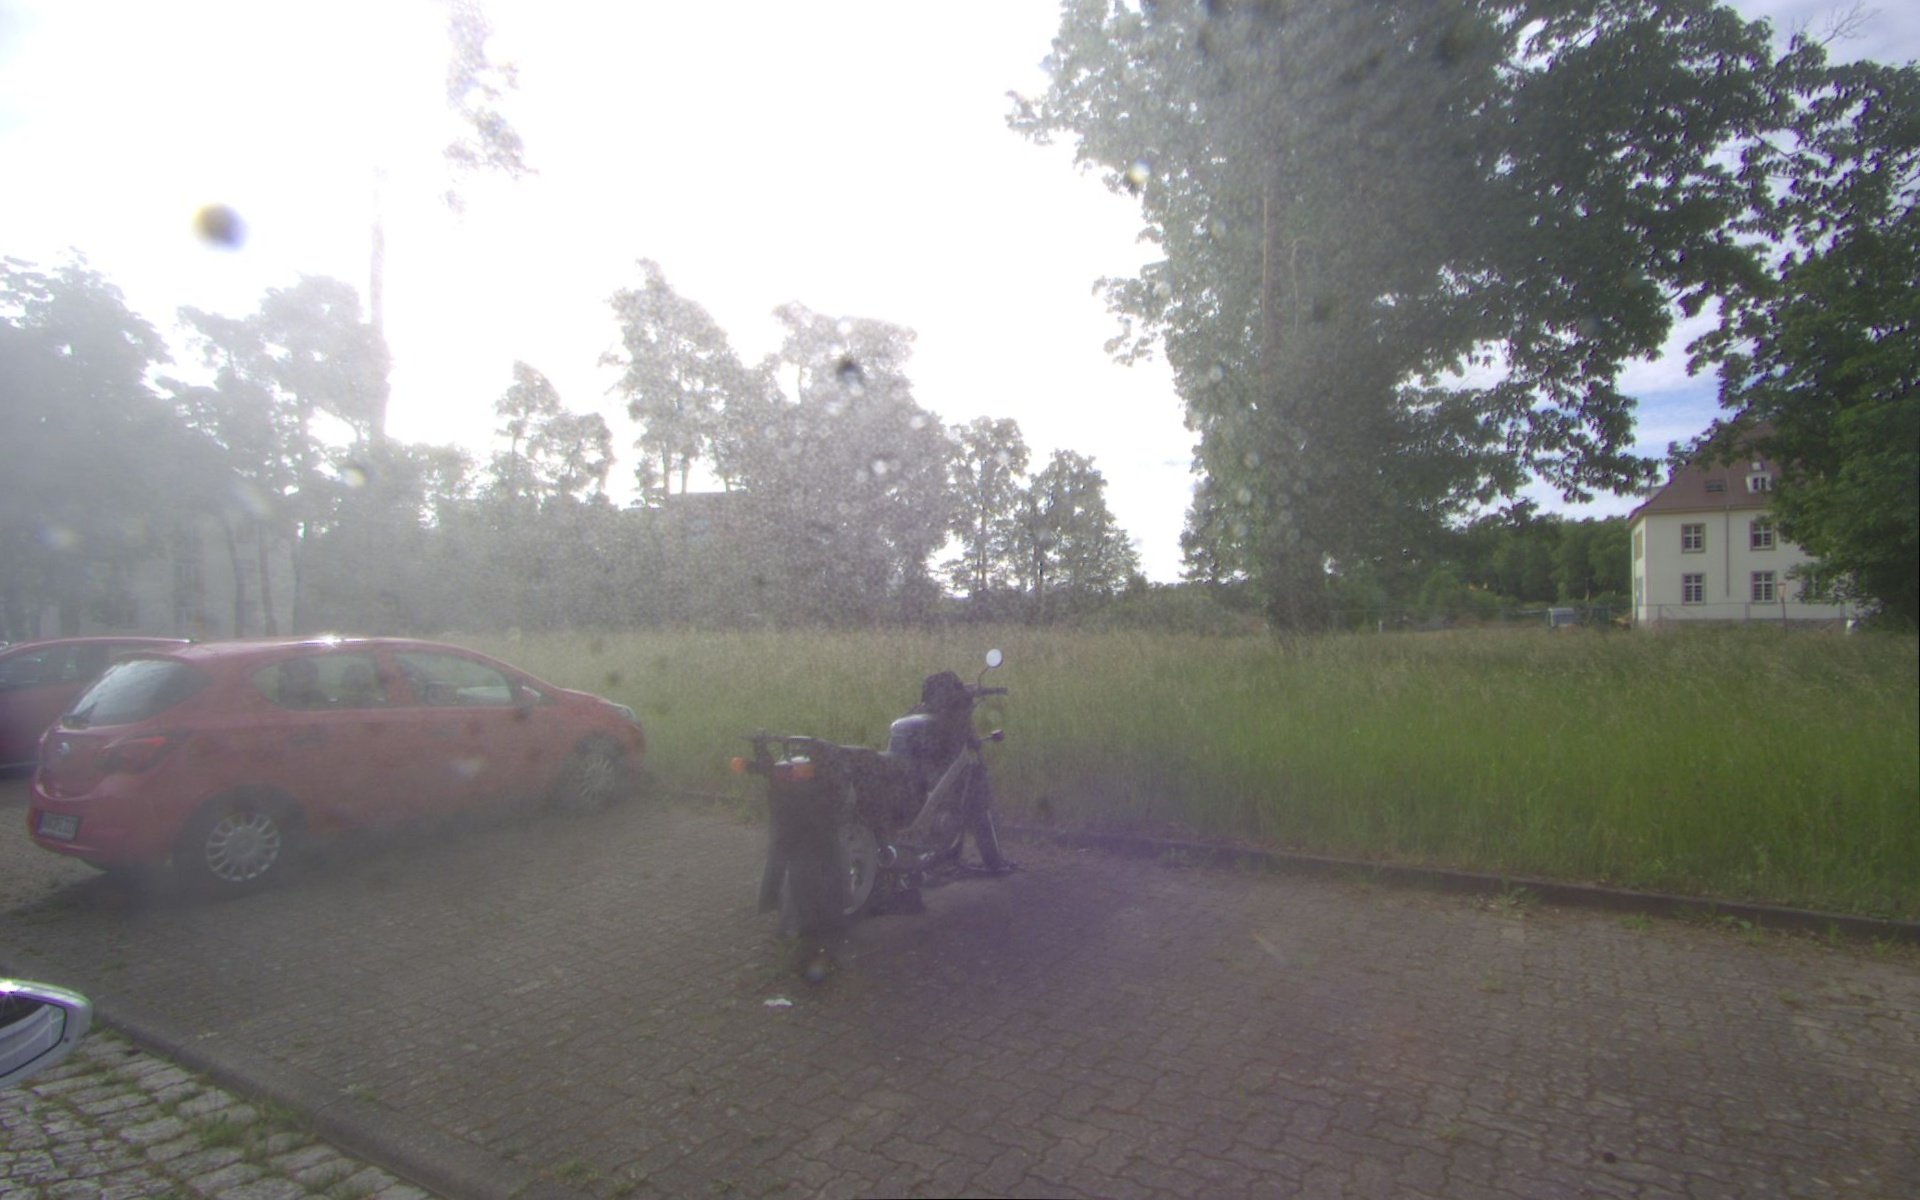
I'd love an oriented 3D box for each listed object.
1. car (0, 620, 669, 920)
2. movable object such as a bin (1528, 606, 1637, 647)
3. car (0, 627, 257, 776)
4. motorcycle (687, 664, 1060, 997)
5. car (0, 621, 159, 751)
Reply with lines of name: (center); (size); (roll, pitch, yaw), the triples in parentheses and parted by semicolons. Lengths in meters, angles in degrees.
car: (-4.217, 0.947, 7.340); (1.753, 1.479, 3.819); (-1, 0, 30)
movable object such as a bin: (42.331, 1.860, 68.192); (2.152, 2.688, 5.928); (1, -2, -40)
car: (-10.527, 1.116, 11.358); (1.726, 1.479, 3.785); (-1, 0, 31)
motorcycle: (-0.297, 1.003, 5.232); (0.783, 1.201, 2.325); (-1, 0, 28)
car: (-12.854, 1.111, 12.557); (1.724, 1.573, 4.024); (-1, 0, 29)
